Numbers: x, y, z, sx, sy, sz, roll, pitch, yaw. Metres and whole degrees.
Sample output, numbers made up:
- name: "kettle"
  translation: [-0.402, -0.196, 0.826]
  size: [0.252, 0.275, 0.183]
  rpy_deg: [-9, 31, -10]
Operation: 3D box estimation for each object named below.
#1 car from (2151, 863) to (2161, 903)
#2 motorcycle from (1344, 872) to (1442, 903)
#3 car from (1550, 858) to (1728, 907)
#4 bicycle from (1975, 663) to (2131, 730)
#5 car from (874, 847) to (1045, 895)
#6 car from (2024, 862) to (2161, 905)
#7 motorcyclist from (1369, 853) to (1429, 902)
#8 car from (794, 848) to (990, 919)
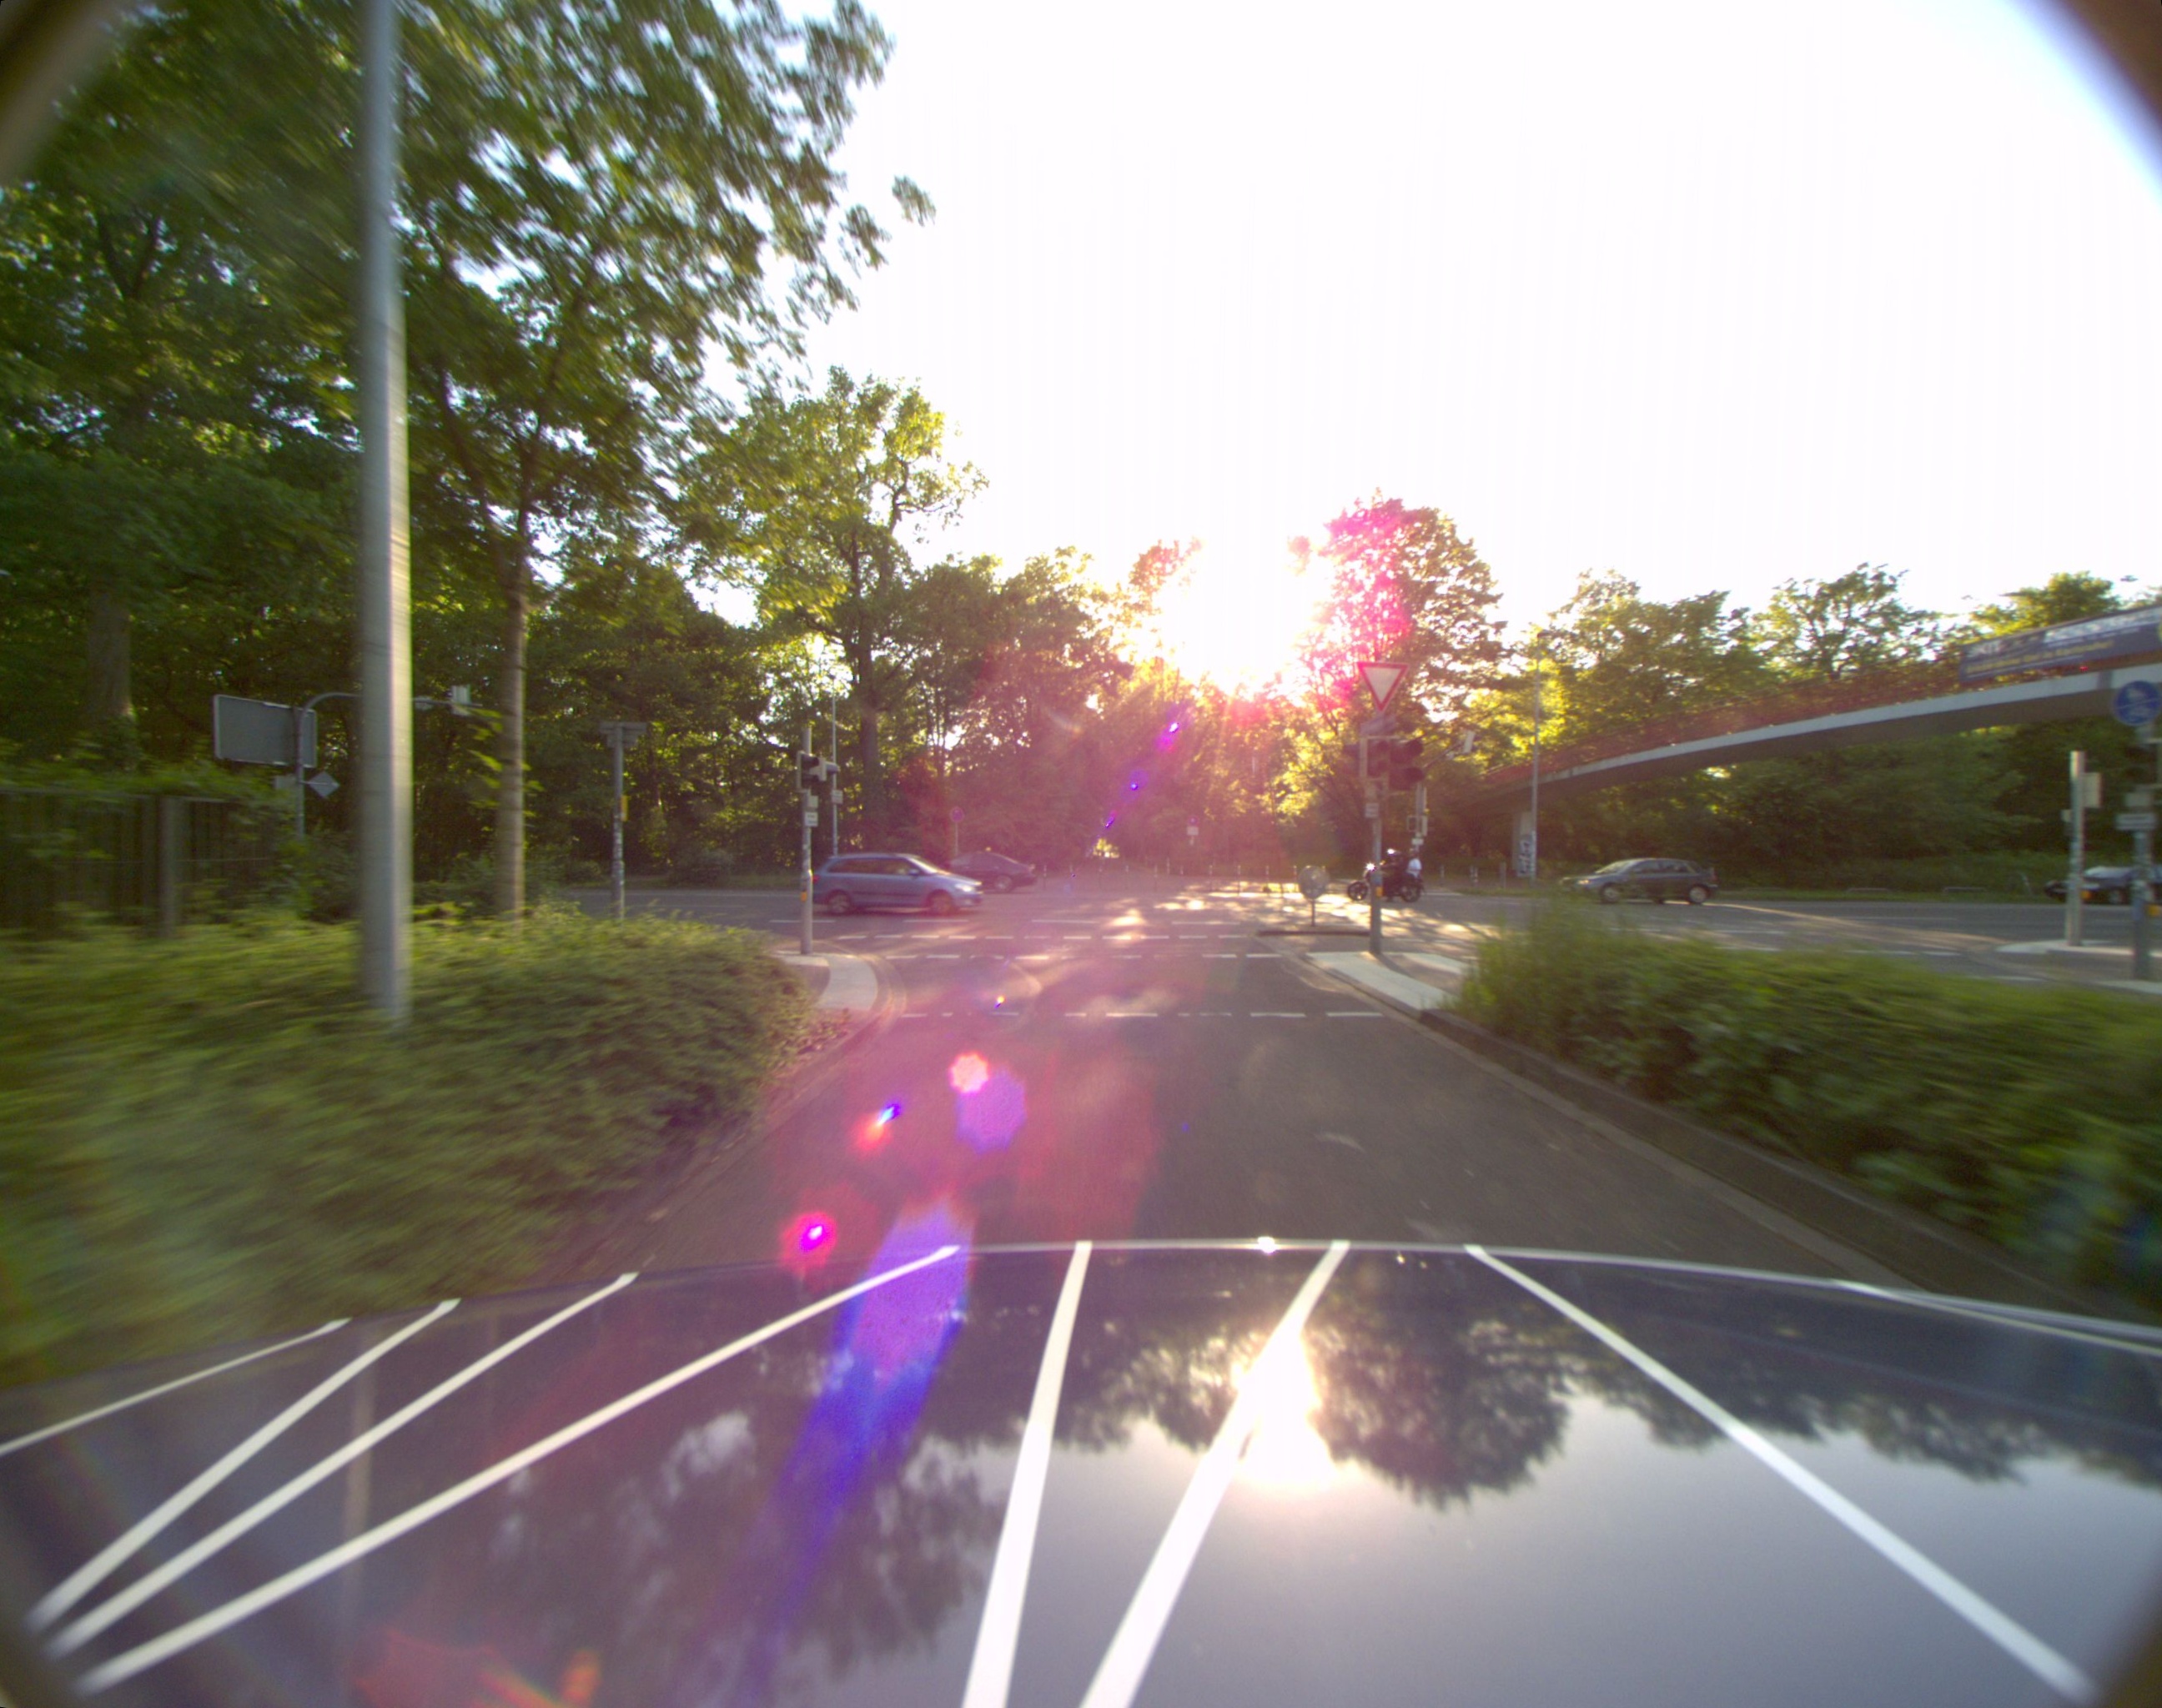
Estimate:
- name: "car"
  translation: [42.983, 1.146, 28.180]
  size: [3.972, 1.499, 1.722]
  rpy_deg: [1, 1, 2]
- name: "motorcycle"
  translation: [9.523, 1.007, 23.301]
  size: [2.707, 0.907, 0.809]
  rpy_deg: [0, -1, 14]
- name: "car"
  translation: [16.866, 0.846, 23.141]
  size: [3.996, 1.381, 1.870]
  rpy_deg: [1, -1, 4]
- name: "bicycle"
  translation: [25.719, -4.130, 20.205]
  size: [1.050, 1.365, 2.448]
  rpy_deg: [0, 3, 5]
- name: "car"
  translation: [-4.250, 0.589, 27.347]
  size: [5.883, 1.625, 1.999]
  rpy_deg: [0, 1, -2]
- name: "car"
  translation: [38.304, 1.072, 28.282]
  size: [4.122, 1.499, 1.696]
  rpy_deg: [1, 1, 2]
- name: "motorcyclist"
  translation: [9.697, 0.708, 23.232]
  size: [1.563, 1.419, 1.140]
  rpy_deg: [-1, 0, 16]
- name: "car"
  translation: [-4.569, 0.693, 18.810]
  size: [4.315, 1.571, 1.812]
  rpy_deg: [-1, 3, 2]
